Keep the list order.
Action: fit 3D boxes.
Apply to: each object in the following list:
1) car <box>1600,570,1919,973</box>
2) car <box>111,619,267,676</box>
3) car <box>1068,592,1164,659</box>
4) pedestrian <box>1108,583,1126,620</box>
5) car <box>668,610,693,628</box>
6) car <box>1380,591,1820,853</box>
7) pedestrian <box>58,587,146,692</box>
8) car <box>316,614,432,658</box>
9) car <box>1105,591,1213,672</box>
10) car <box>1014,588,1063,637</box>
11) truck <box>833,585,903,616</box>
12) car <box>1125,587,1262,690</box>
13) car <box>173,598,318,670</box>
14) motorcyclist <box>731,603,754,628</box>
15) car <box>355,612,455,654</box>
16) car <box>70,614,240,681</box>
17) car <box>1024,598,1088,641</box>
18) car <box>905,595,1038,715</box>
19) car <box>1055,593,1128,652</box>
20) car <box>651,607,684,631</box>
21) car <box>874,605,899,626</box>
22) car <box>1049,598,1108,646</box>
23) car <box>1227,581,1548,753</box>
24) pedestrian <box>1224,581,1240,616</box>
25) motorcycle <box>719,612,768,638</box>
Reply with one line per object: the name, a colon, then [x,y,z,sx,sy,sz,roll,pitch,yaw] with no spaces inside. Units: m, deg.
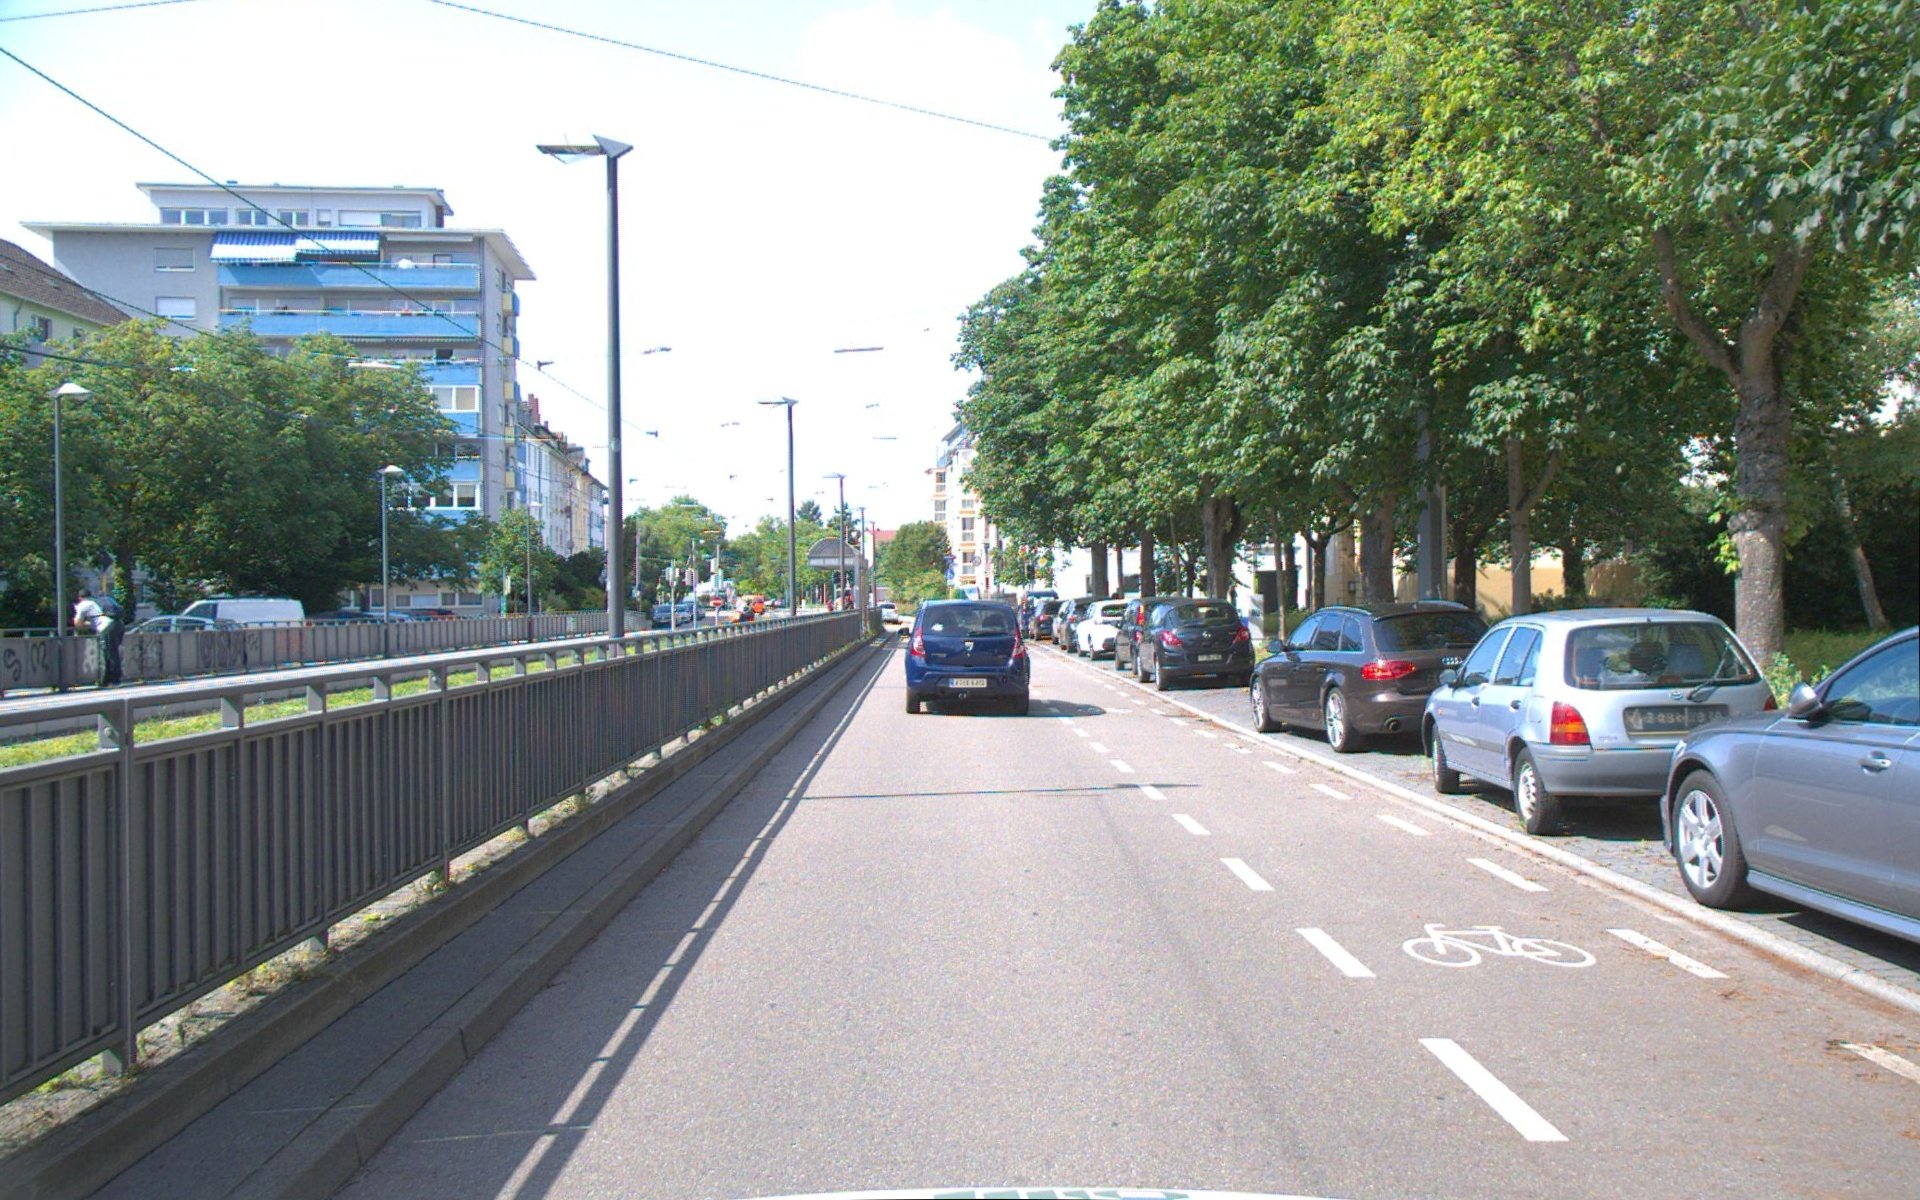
car: [4.554,0.643,6.709,1.792,1.466,5.048,-4,0,-1]
car: [-22.663,1.379,48.637,3.954,1.511,1.590,-1,0,-35]
car: [4.023,0.647,43.385,1.799,1.550,4.250,-3,0,-4]
pedestrian: [7.599,0.074,80.223,0.729,1.726,0.767,-2,0,-1]
car: [-22.586,1.540,133.647,1.734,1.467,3.994,1,-1,-7]
car: [4.342,0.720,11.913,1.602,1.456,4.015,-4,0,1]
pedestrian: [-13.546,0.615,26.134,0.969,1.606,0.798,-1,-1,-4]
car: [-22.407,1.365,63.268,3.975,1.540,1.592,-1,0,-31]
car: [4.113,0.647,34.648,1.525,1.486,3.555,-5,-1,-4]
car: [3.240,0.488,68.739,1.785,1.929,4.184,-2,0,0]
truck: [-11.412,0.047,204.666,8.221,3.241,2.593,-4,0,-16]
car: [4.069,0.639,29.450,1.657,1.588,4.306,-4,0,-1]
car: [-22.303,1.033,51.665,3.902,2.106,2.027,-1,0,-33]
motorcyclist: [-11.955,0.855,91.085,0.972,1.363,0.933,-2,0,-27]
car: [-22.916,1.357,68.340,3.620,1.607,1.631,-1,0,-32]
car: [-22.336,1.276,45.951,3.960,1.668,1.802,-1,1,-39]
car: [3.637,0.720,63.390,1.879,1.467,4.794,-4,0,-2]
car: [0.089,0.735,23.412,1.708,1.533,3.998,1,-1,-2]
car: [3.856,0.636,48.981,1.690,1.611,4.676,-2,0,-1]
car: [-20.793,1.350,117.758,1.955,1.674,3.996,1,-1,-5]
car: [-5.254,1.109,118.466,1.591,1.491,3.506,1,-1,-5]
car: [3.876,0.709,54.393,1.558,1.470,3.597,-3,0,-1]
car: [4.390,0.666,17.859,1.796,1.492,4.826,-3,-1,-5]
pedestrian: [12.645,-0.063,76.933,0.619,1.624,0.539,-1,-1,-4]
motorcycle: [-11.906,1.373,91.128,2.478,1.363,1.009,-2,0,-27]
